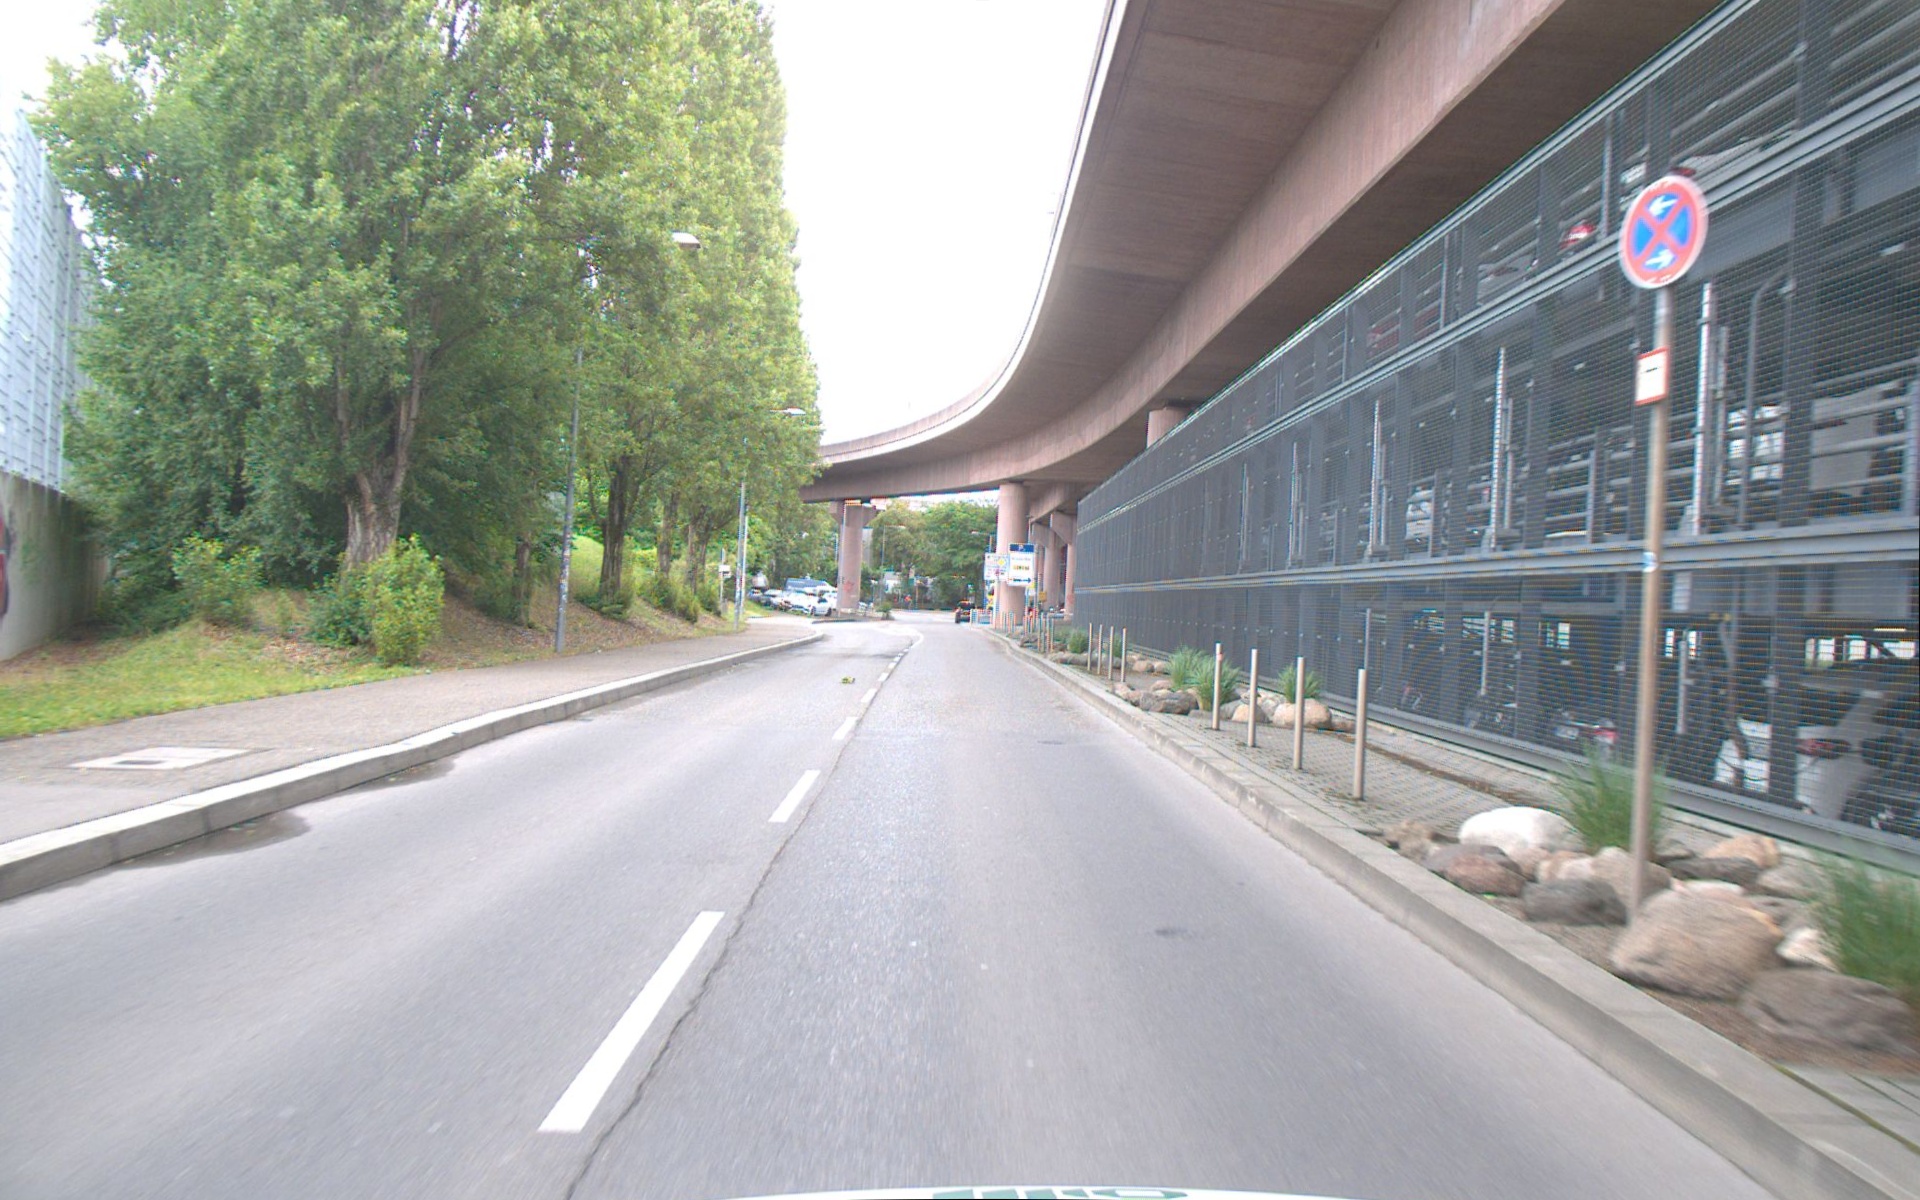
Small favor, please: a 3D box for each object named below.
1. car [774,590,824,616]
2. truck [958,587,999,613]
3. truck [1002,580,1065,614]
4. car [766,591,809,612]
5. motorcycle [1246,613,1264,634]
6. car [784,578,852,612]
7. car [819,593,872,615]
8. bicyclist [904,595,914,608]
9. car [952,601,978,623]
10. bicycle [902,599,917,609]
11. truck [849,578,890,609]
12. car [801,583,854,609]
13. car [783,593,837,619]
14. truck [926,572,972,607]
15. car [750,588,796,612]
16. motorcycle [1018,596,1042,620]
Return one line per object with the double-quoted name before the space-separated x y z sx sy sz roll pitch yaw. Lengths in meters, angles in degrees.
"car" -12.260 0.242 126.268 1.954 1.609 4.400 7 0 21
"truck" 2.268 -0.034 203.322 2.873 2.949 6.518 1 2 -21
"truck" 8.368 -0.403 187.329 2.881 3.540 8.209 5 4 37
"car" -13.556 0.142 129.923 1.751 1.479 3.745 2 0 23
"motorcycle" 18.527 1.490 103.995 0.560 1.124 2.329 2 4 -3
"car" -13.337 -0.453 155.858 6.050 2.772 2.367 4 0 -1
"car" -10.179 0.351 147.313 4.288 1.633 1.956 5 0 13
"bicyclist" -5.748 0.157 186.807 0.788 1.430 1.055 1 0 -32
"car" 0.388 0.981 135.473 1.953 1.708 4.559 3 0 -1
"bicycle" -5.728 0.475 186.766 0.794 1.117 2.108 1 0 -31
"truck" -12.172 -0.893 222.309 3.014 3.681 7.861 2 2 -23
"car" -12.234 -0.363 152.779 4.460 2.147 1.852 4 0 8
"car" -11.089 0.462 122.457 1.953 1.505 4.828 6 -1 20
"truck" -1.388 -1.370 201.912 3.022 3.934 7.999 1 2 -21
"car" -14.968 -0.007 132.778 1.819 1.720 4.162 3 -1 23
"motorcycle" 4.319 0.497 102.094 0.783 1.390 2.119 1 0 -17
